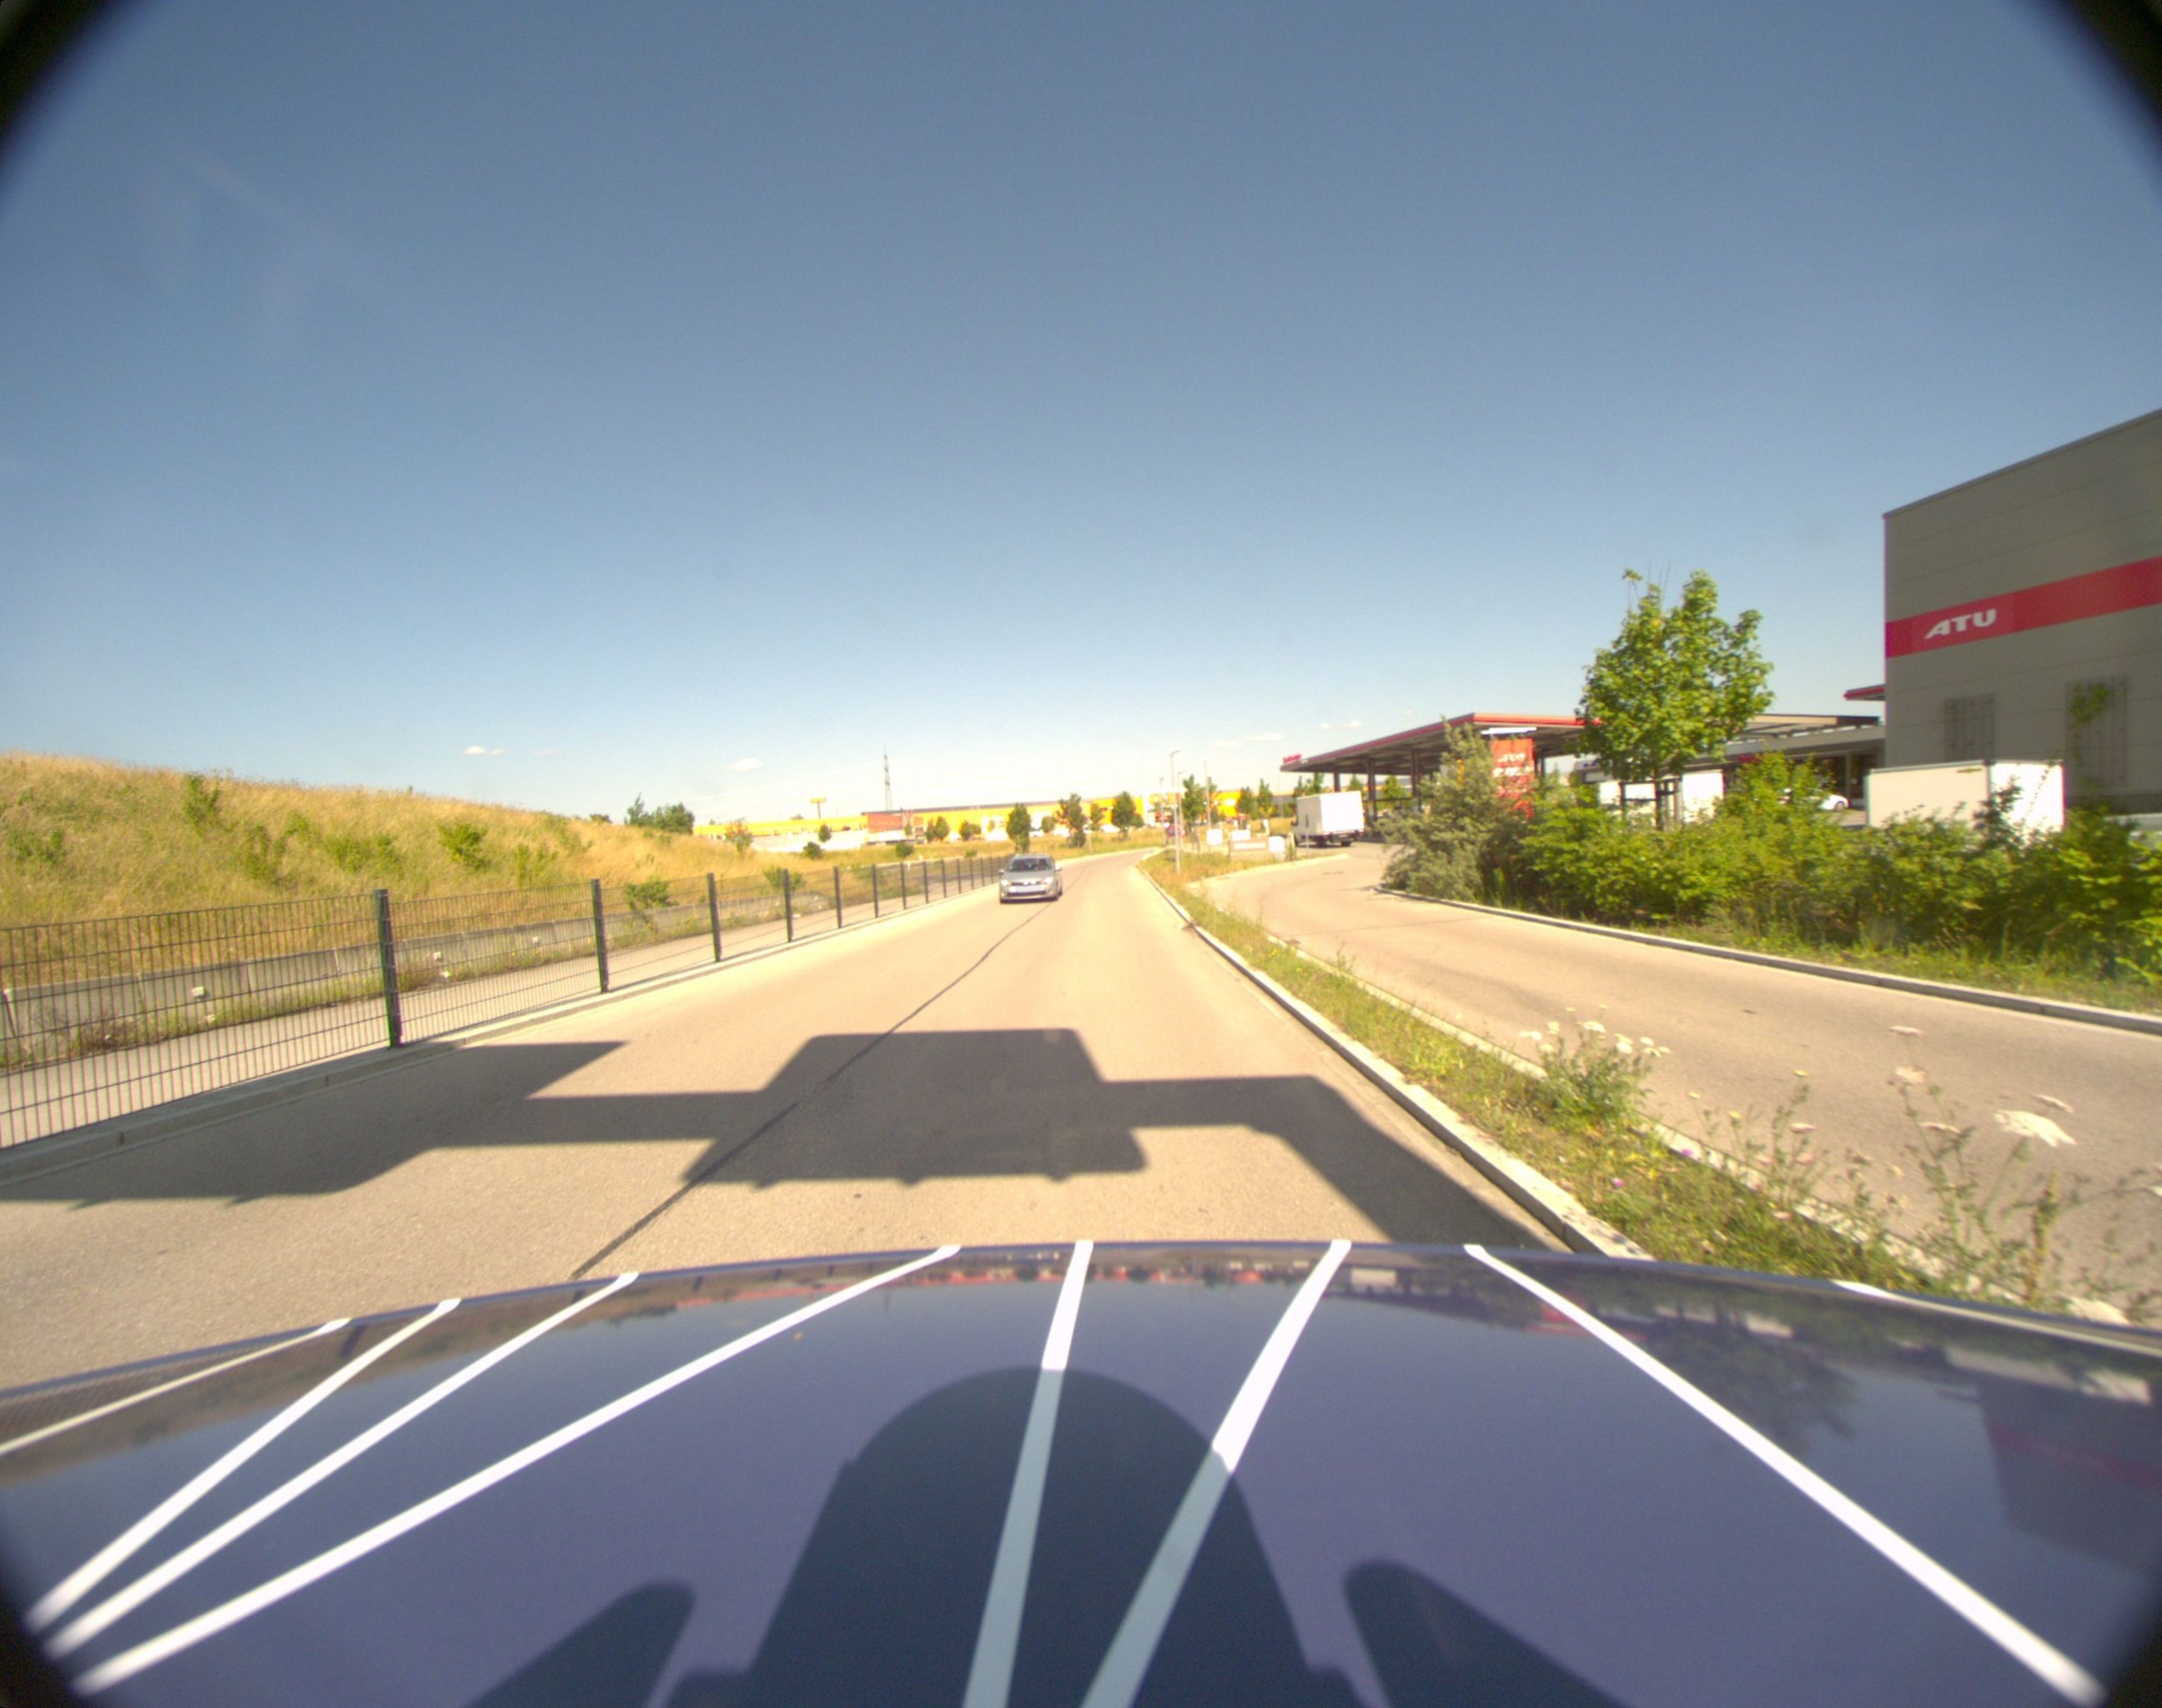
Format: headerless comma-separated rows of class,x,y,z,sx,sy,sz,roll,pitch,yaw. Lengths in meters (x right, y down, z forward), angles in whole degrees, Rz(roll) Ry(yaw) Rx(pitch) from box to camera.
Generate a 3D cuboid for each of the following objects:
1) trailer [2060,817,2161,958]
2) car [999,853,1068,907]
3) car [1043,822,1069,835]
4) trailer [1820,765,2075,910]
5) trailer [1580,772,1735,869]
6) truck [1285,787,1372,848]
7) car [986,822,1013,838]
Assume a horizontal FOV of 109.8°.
trailer,14.255,0.335,9.563,3.604,1.502,1.597,-5,1,-25
car,-1.438,0.766,24.263,1.746,1.460,3.960,-1,1,3
car,-4.535,-4.632,137.683,4.634,2.002,1.999,-4,2,-3
trailer,13.913,-0.291,12.241,2.739,2.002,1.996,-5,2,-25
trailer,13.320,-0.780,17.517,3.211,2.002,1.995,-5,2,-37
truck,15.069,-2.171,46.833,2.640,3.299,6.902,-4,1,-2
car,-14.777,-4.298,137.671,4.634,2.534,1.999,-4,2,-3
